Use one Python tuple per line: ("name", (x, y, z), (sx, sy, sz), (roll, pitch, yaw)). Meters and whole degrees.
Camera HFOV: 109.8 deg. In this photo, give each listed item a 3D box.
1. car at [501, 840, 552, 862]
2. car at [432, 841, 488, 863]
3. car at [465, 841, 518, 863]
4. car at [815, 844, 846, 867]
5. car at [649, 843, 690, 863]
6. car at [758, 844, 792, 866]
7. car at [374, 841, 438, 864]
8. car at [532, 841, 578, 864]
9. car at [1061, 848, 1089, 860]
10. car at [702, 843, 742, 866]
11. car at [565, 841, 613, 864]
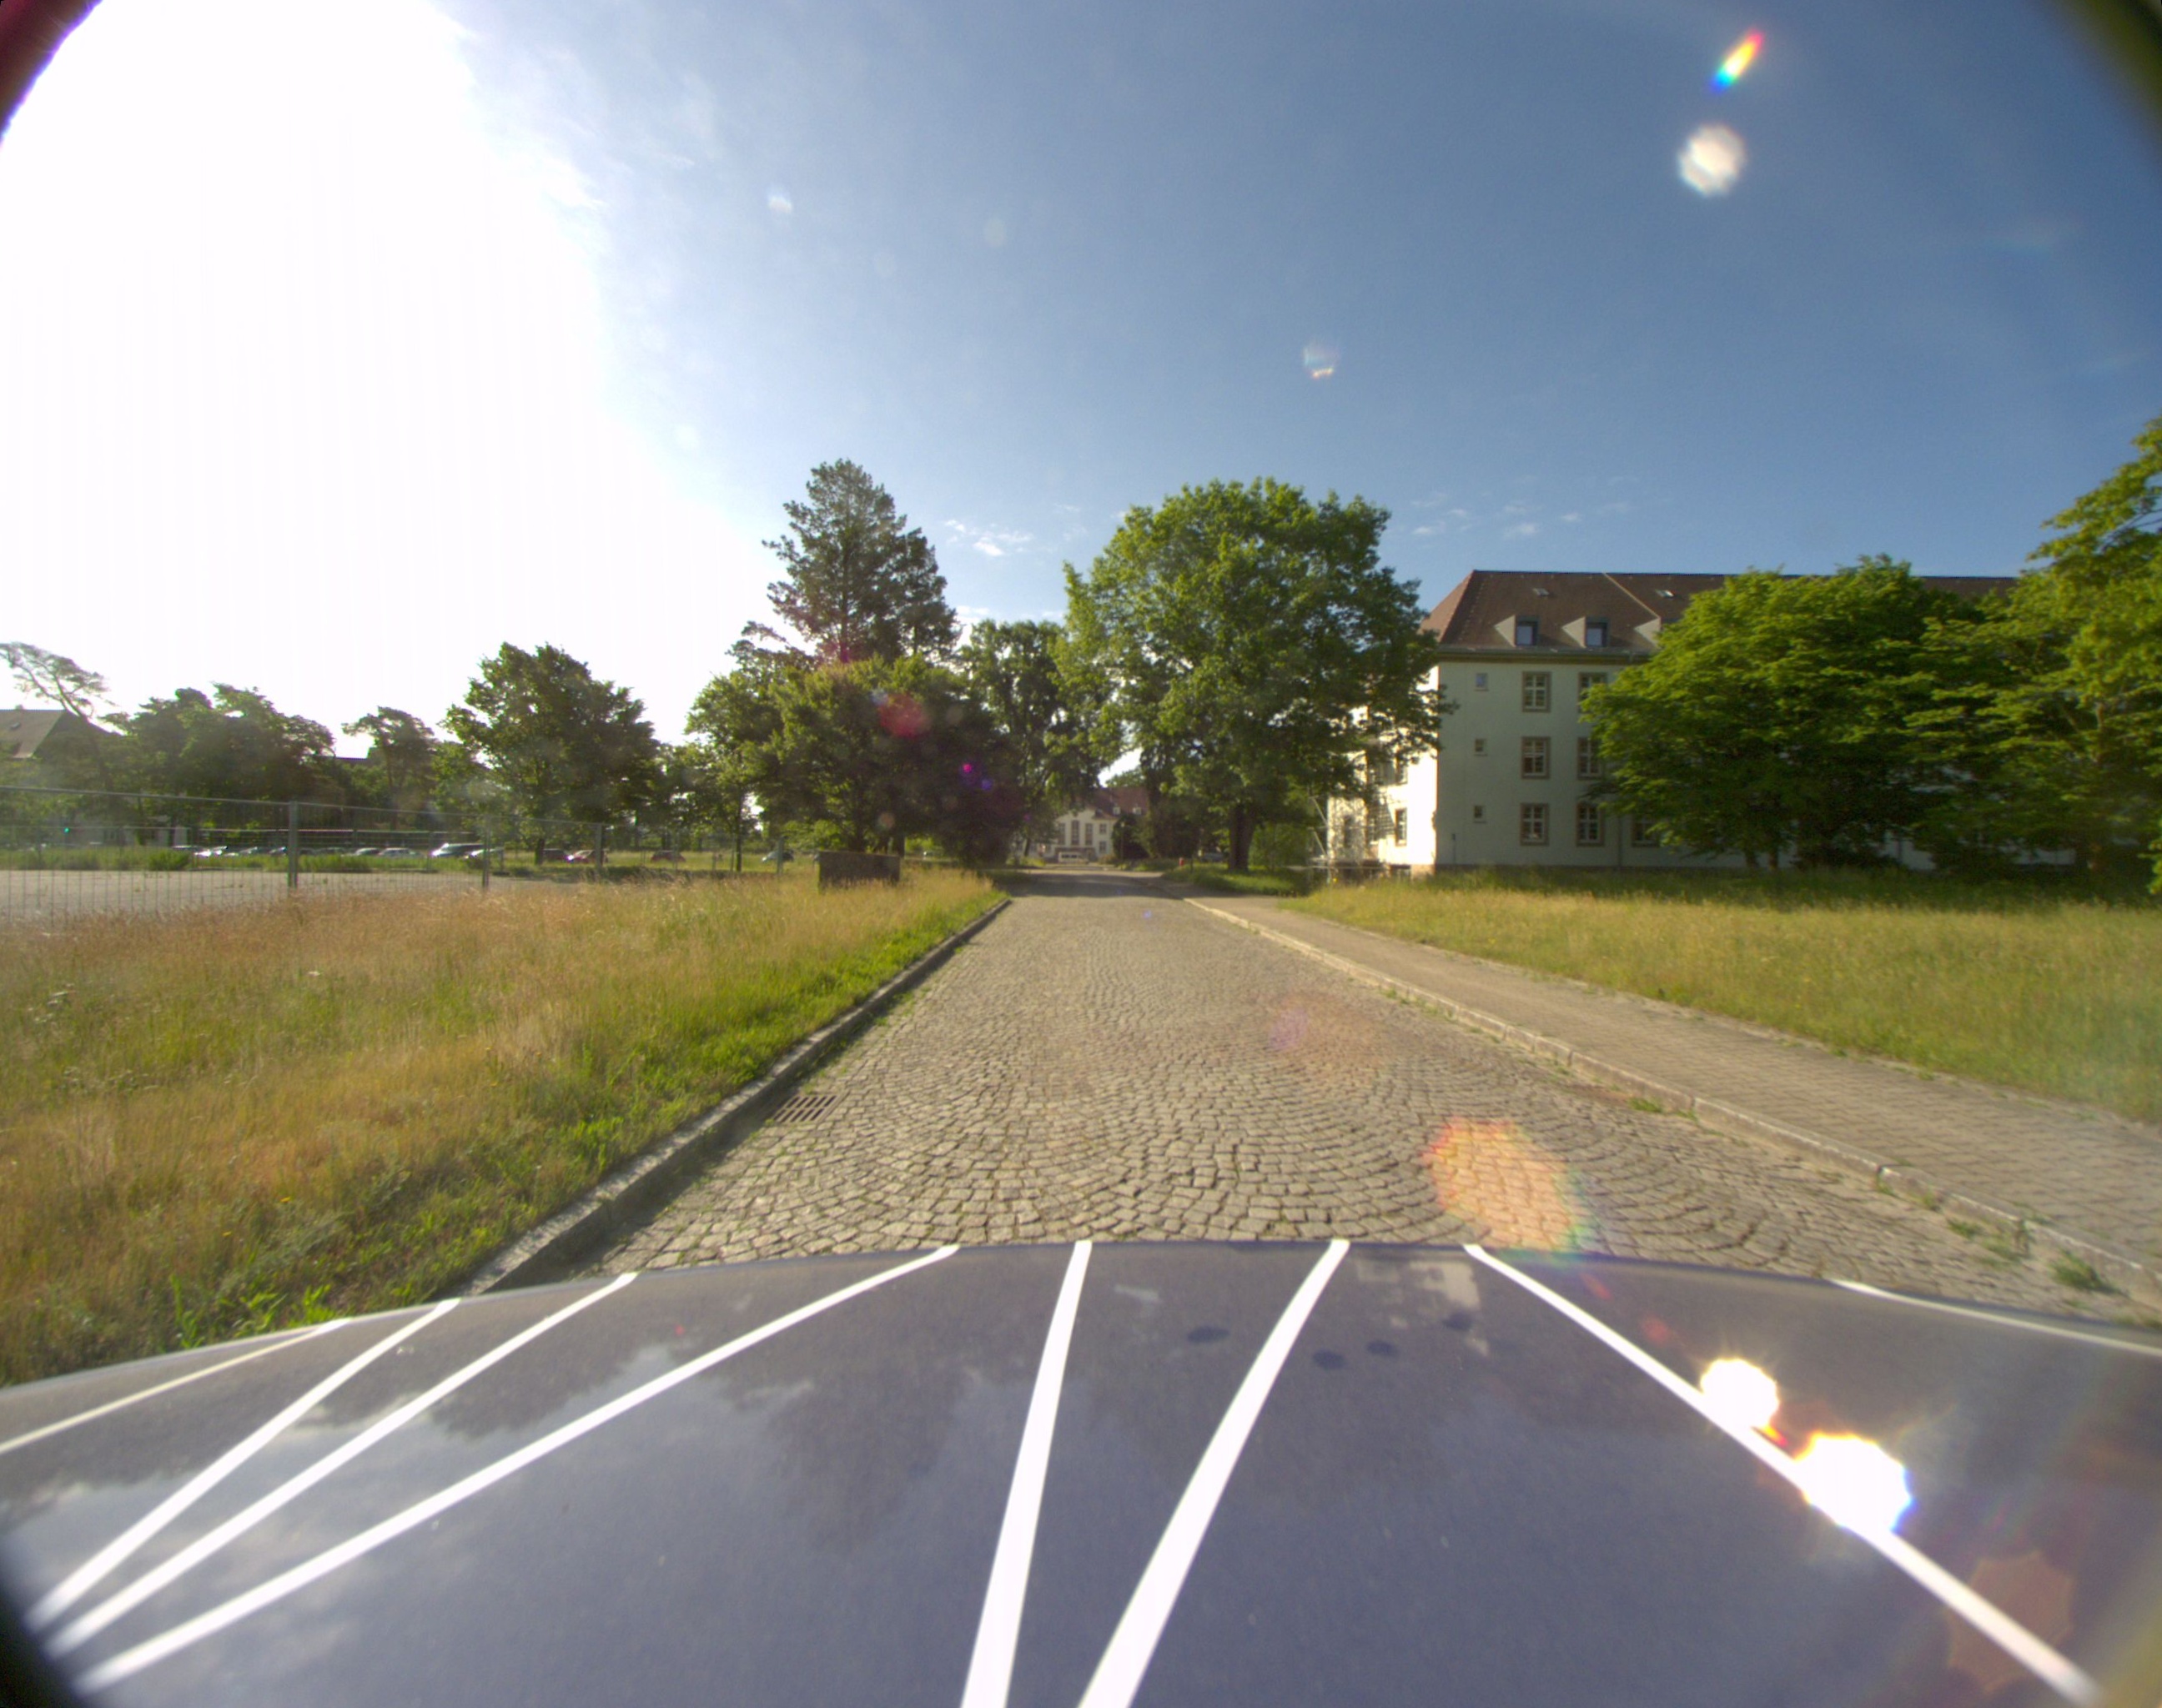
("car", (-52.466, -0.242, 71.986), (1.999, 2.002, 3.999), (1, 0, -1))
("car", (-57.310, -0.176, 70.236), (1.999, 2.002, 3.998), (1, 0, -3))
("car", (-54.857, -0.223, 70.808), (1.999, 1.936, 3.998), (1, 0, -3))
("car", (-23.260, 0.146, 70.591), (2.000, 2.002, 3.997), (1, 0, -7))
("car", (-38.294, -0.094, 70.839), (2.000, 1.805, 3.997), (1, 0, -7))
("car", (-28.441, 0.057, 70.744), (2.000, 2.002, 3.997), (1, 0, -7))
("car", (-62.651, -0.151, 70.601), (1.998, 2.002, 4.001), (-2, 1, 6))
("car", (-48.714, -0.151, 70.441), (2.000, 2.002, 3.996), (1, 0, -9))
("car", (-1.081, -0.031, 133.365), (4.871, 2.083, 2.000), (1, 1, -1))
("car", (-33.658, 0.047, 71.297), (1.999, 2.002, 3.998), (1, 0, -3))
("car", (-45.764, -0.136, 70.805), (1.999, 2.002, 3.999), (1, 0, -2))
